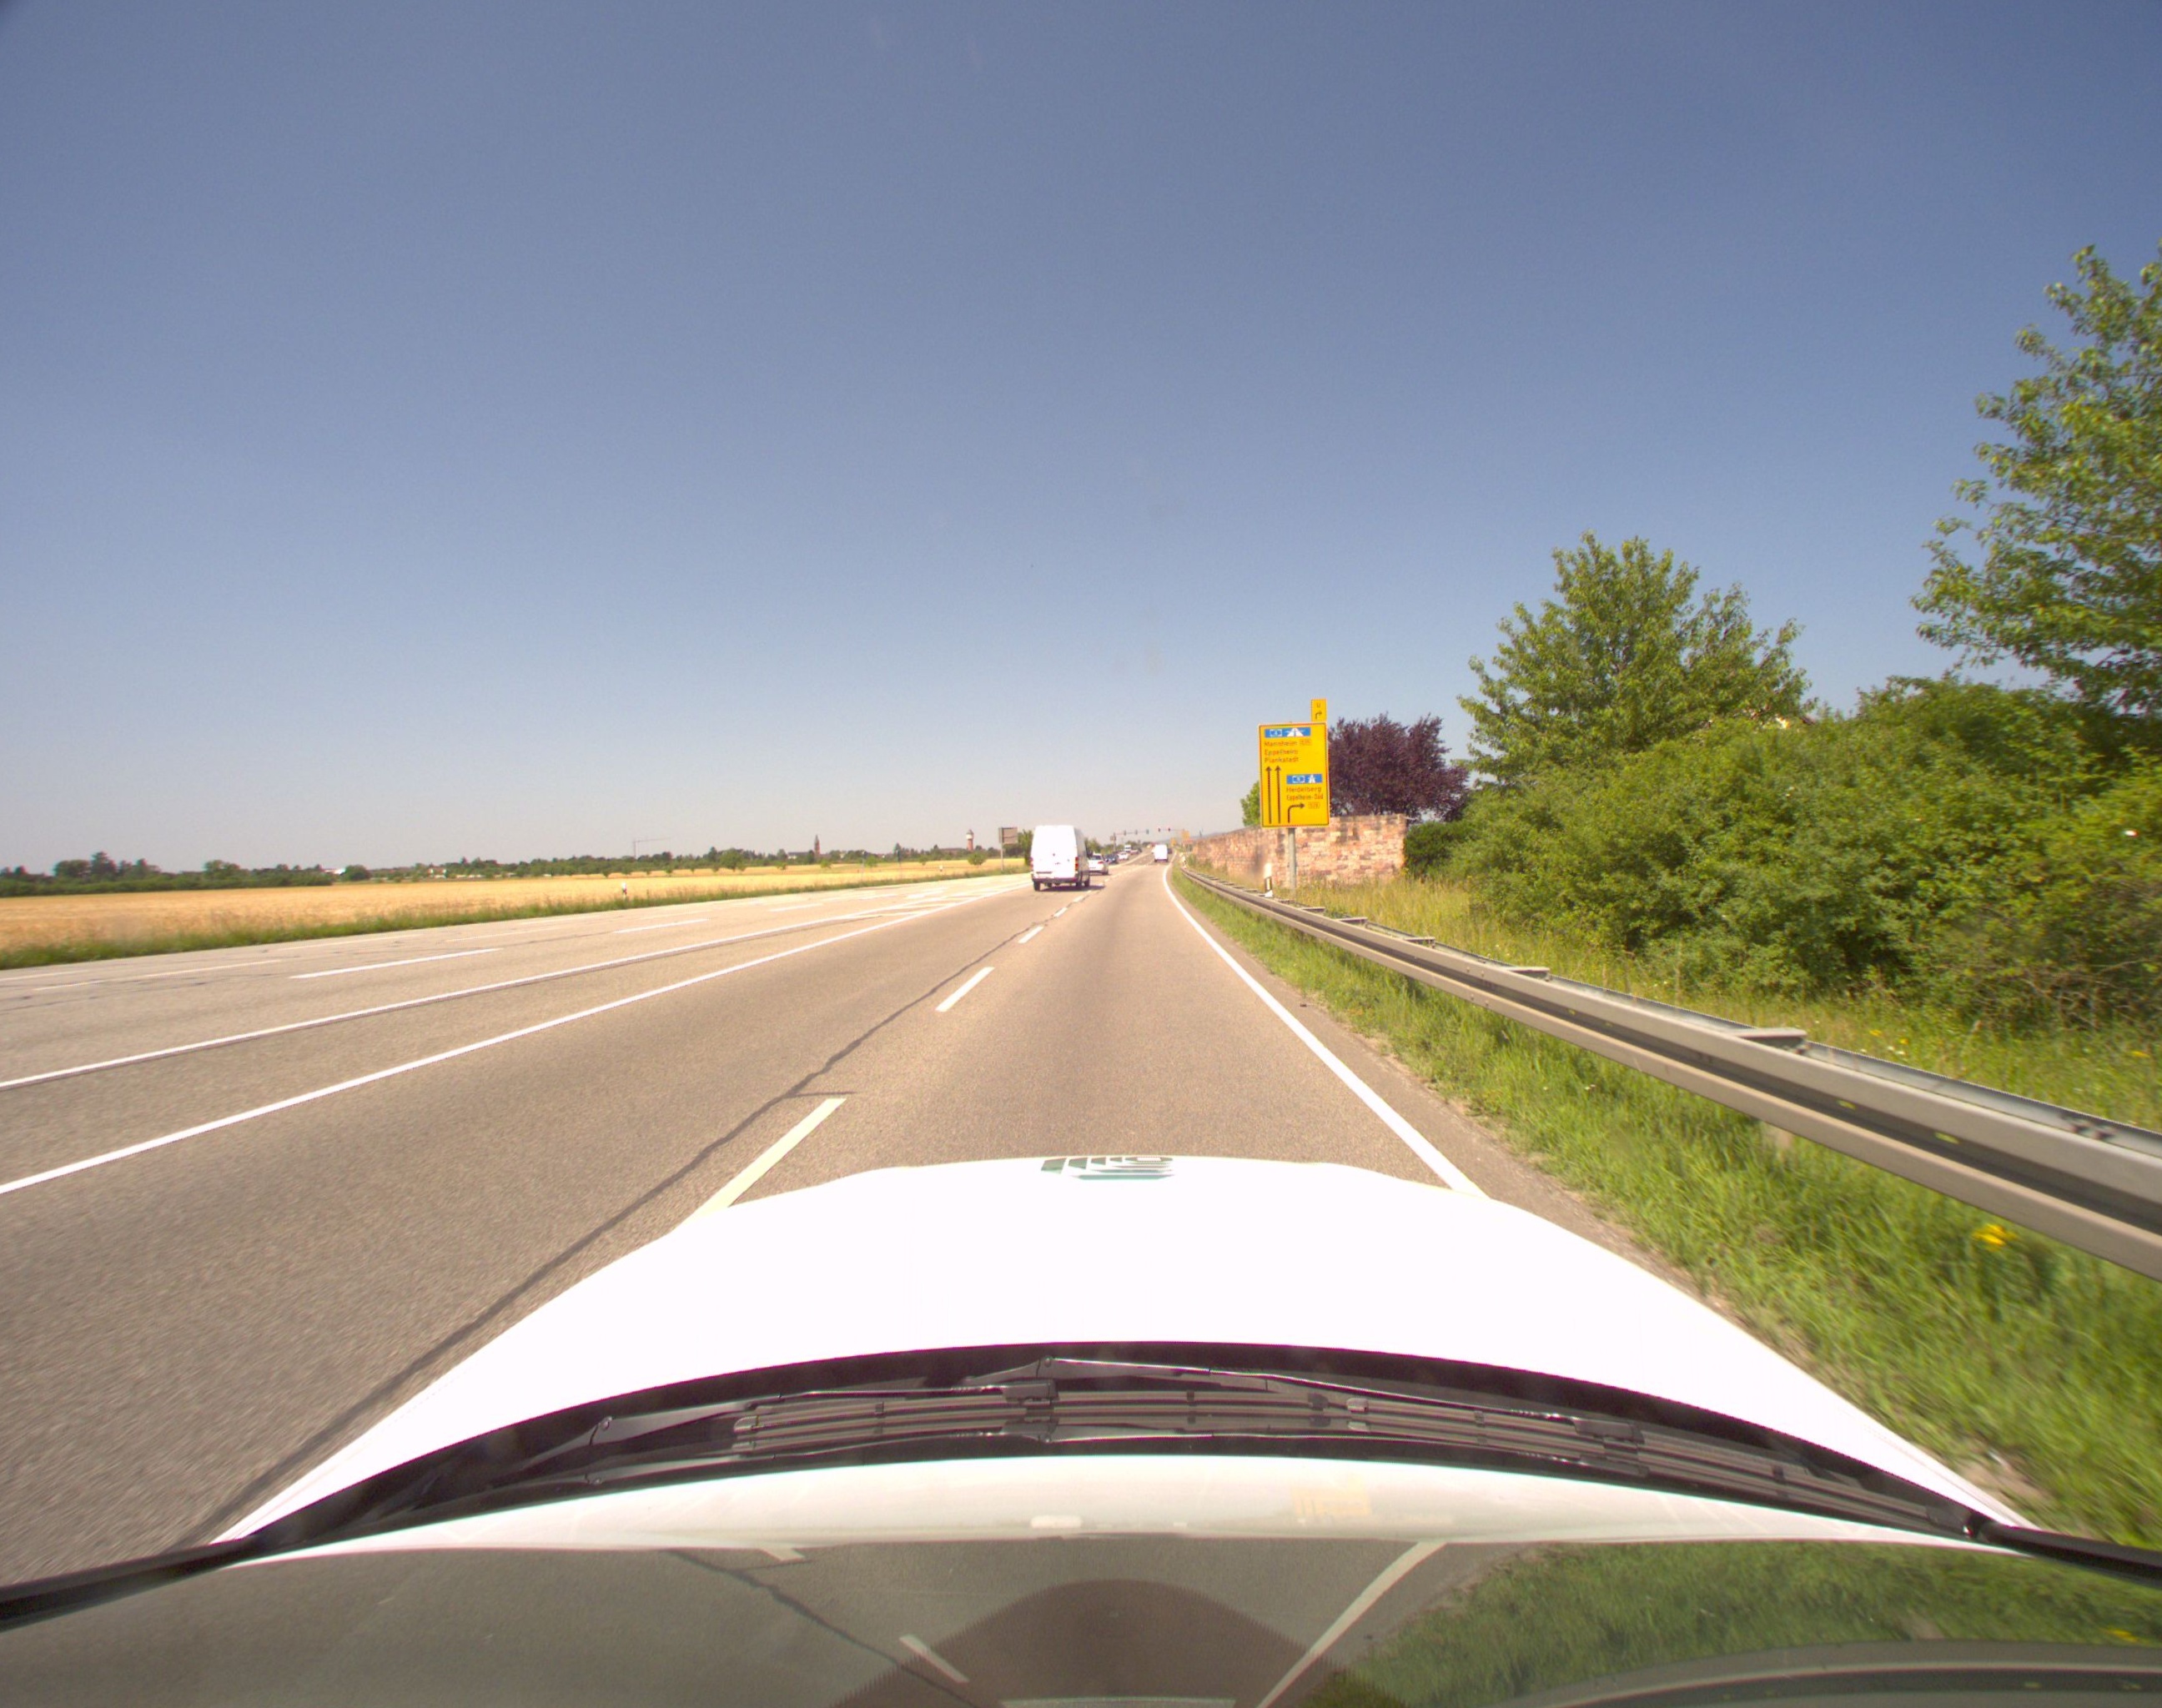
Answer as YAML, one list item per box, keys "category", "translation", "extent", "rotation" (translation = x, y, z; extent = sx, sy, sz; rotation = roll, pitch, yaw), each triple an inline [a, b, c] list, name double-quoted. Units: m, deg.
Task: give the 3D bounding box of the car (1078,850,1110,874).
- category: "car"
  translation: [0.928, 0.535, 55.226]
  extent: [1.790, 1.508, 4.204]
  rotation: [-1, 0, 6]

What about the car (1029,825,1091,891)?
- category: "car"
  translation: [-0.781, 0.157, 35.051]
  extent: [2.030, 2.620, 5.748]
  rotation: [-1, 0, 5]

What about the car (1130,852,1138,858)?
- category: "car"
  translation: [14.380, 0.247, 222.793]
  extent: [1.847, 1.423, 4.009]
  rotation: [-2, 0, 8]

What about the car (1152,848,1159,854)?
- category: "car"
  translation: [20.582, -0.751, 225.306]
  extent: [1.983, 1.703, 4.283]
  rotation: [0, -1, 7]

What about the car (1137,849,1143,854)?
- category: "car"
  translation: [18.762, -0.786, 258.924]
  extent: [1.847, 1.423, 4.009]
  rotation: [0, -1, 8]

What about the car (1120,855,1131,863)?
- category: "car"
  translation: [8.025, 0.888, 148.039]
  extent: [1.740, 1.442, 4.088]
  rotation: [-1, -1, 6]

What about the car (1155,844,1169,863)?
- category: "car"
  translation: [11.991, 0.016, 120.575]
  extent: [1.983, 2.695, 4.978]
  rotation: [0, -1, 6]

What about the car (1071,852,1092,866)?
- category: "car"
  translation: [0.093, 0.510, 89.005]
  extent: [1.750, 1.457, 4.238]
  rotation: [-2, 0, 6]

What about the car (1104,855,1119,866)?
- category: "car"
  translation: [4.185, 0.849, 110.798]
  extent: [1.740, 1.442, 4.089]
  rotation: [-2, 0, 6]
